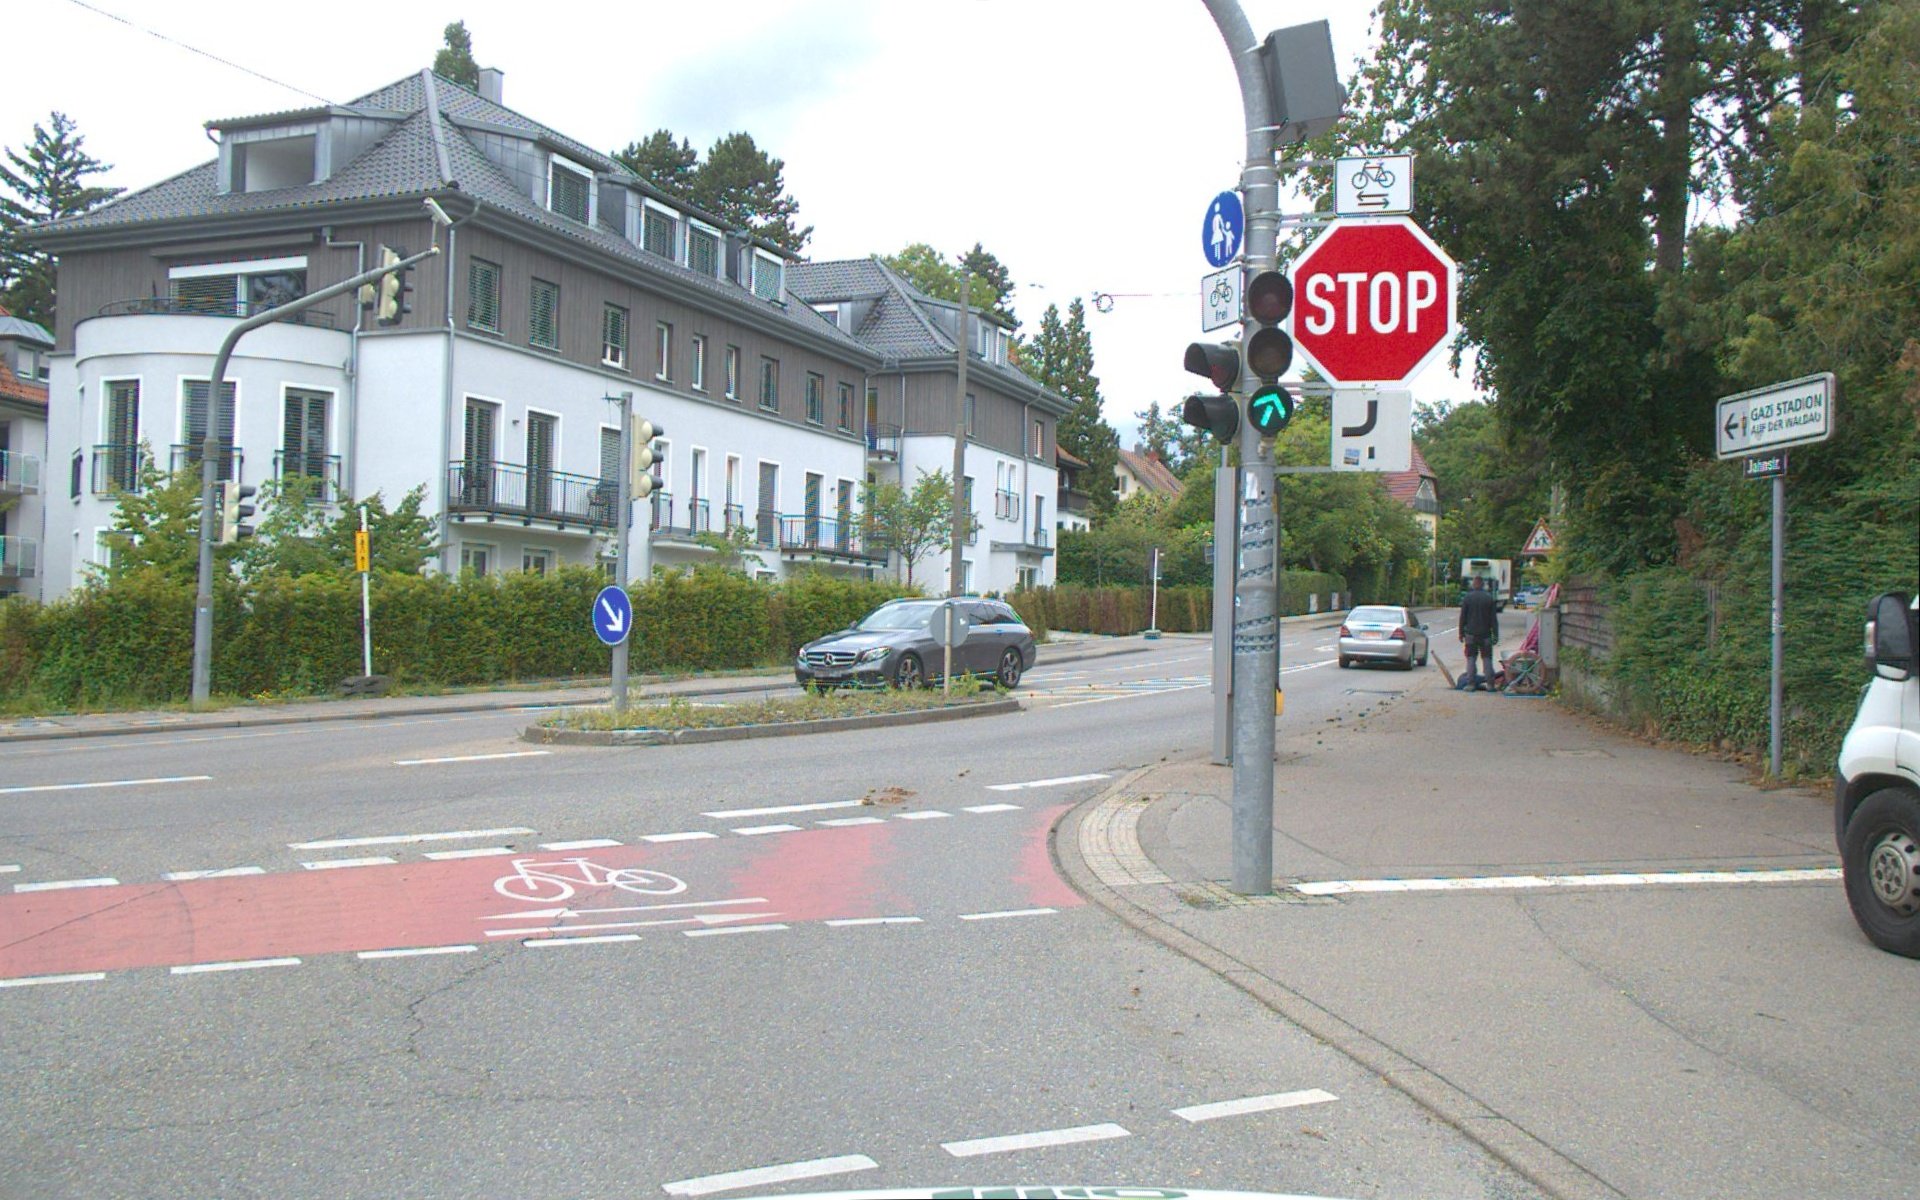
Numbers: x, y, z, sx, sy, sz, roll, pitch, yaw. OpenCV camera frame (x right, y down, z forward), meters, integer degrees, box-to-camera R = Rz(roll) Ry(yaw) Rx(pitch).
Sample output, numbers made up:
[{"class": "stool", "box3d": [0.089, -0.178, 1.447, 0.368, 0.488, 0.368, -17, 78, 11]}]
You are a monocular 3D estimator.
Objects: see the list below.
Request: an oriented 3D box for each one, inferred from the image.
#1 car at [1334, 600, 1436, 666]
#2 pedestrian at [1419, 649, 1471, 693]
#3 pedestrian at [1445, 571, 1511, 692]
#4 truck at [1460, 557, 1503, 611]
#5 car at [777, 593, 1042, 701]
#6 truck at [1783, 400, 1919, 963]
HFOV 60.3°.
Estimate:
[{"class": "car", "box3d": [10.046, 0.765, 38.897, 1.760, 1.440, 4.335, 1, -1, 22]}, {"class": "pedestrian", "box3d": [8.291, 1.215, 28.303, 0.635, 0.709, 0.582, 1, 0, -20]}, {"class": "pedestrian", "box3d": [8.546, 0.502, 27.330, 0.828, 1.957, 0.801, 1, 0, 1]}, {"class": "truck", "box3d": [36.065, -1.046, 114.356, 2.719, 3.522, 7.496, 1, -1, 18]}, {"class": "car", "box3d": [-0.672, 0.665, 25.995, 1.793, 1.511, 4.734, 0, 0, 33]}, {"class": "truck", "box3d": [5.216, 0.344, 5.125, 2.347, 2.393, 6.189, 1, -1, 1]}]
